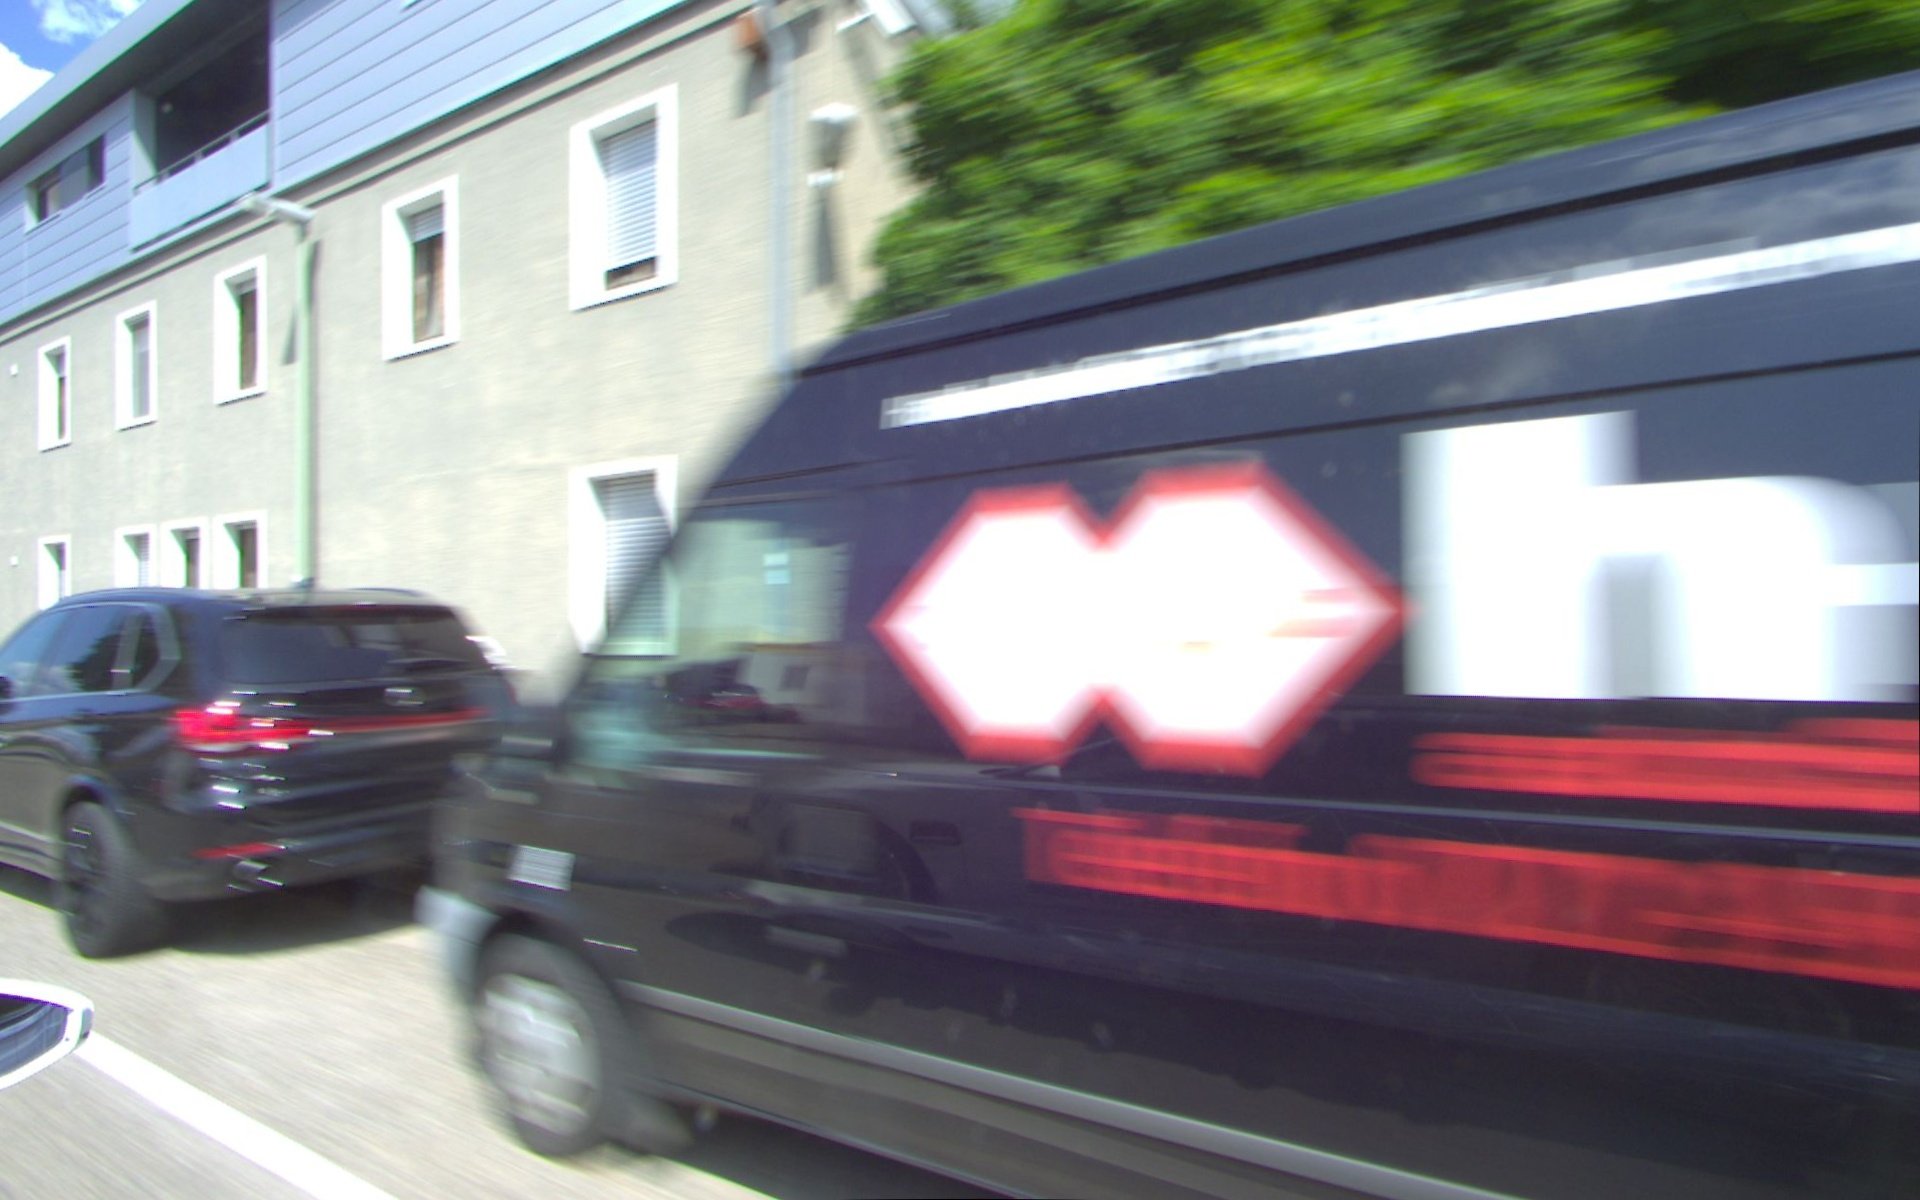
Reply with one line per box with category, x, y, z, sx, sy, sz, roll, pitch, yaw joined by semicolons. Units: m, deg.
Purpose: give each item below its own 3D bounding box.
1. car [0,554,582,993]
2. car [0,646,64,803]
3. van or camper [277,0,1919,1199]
car;-4.797;0.784;6.231;4.881;1.803;1.958;-1;-2;31
car;-10.349;1.135;9.596;3.867;1.371;1.626;-1;-1;32
van or camper;0.468;0.432;2.857;5.370;2.320;1.991;-1;-2;32
